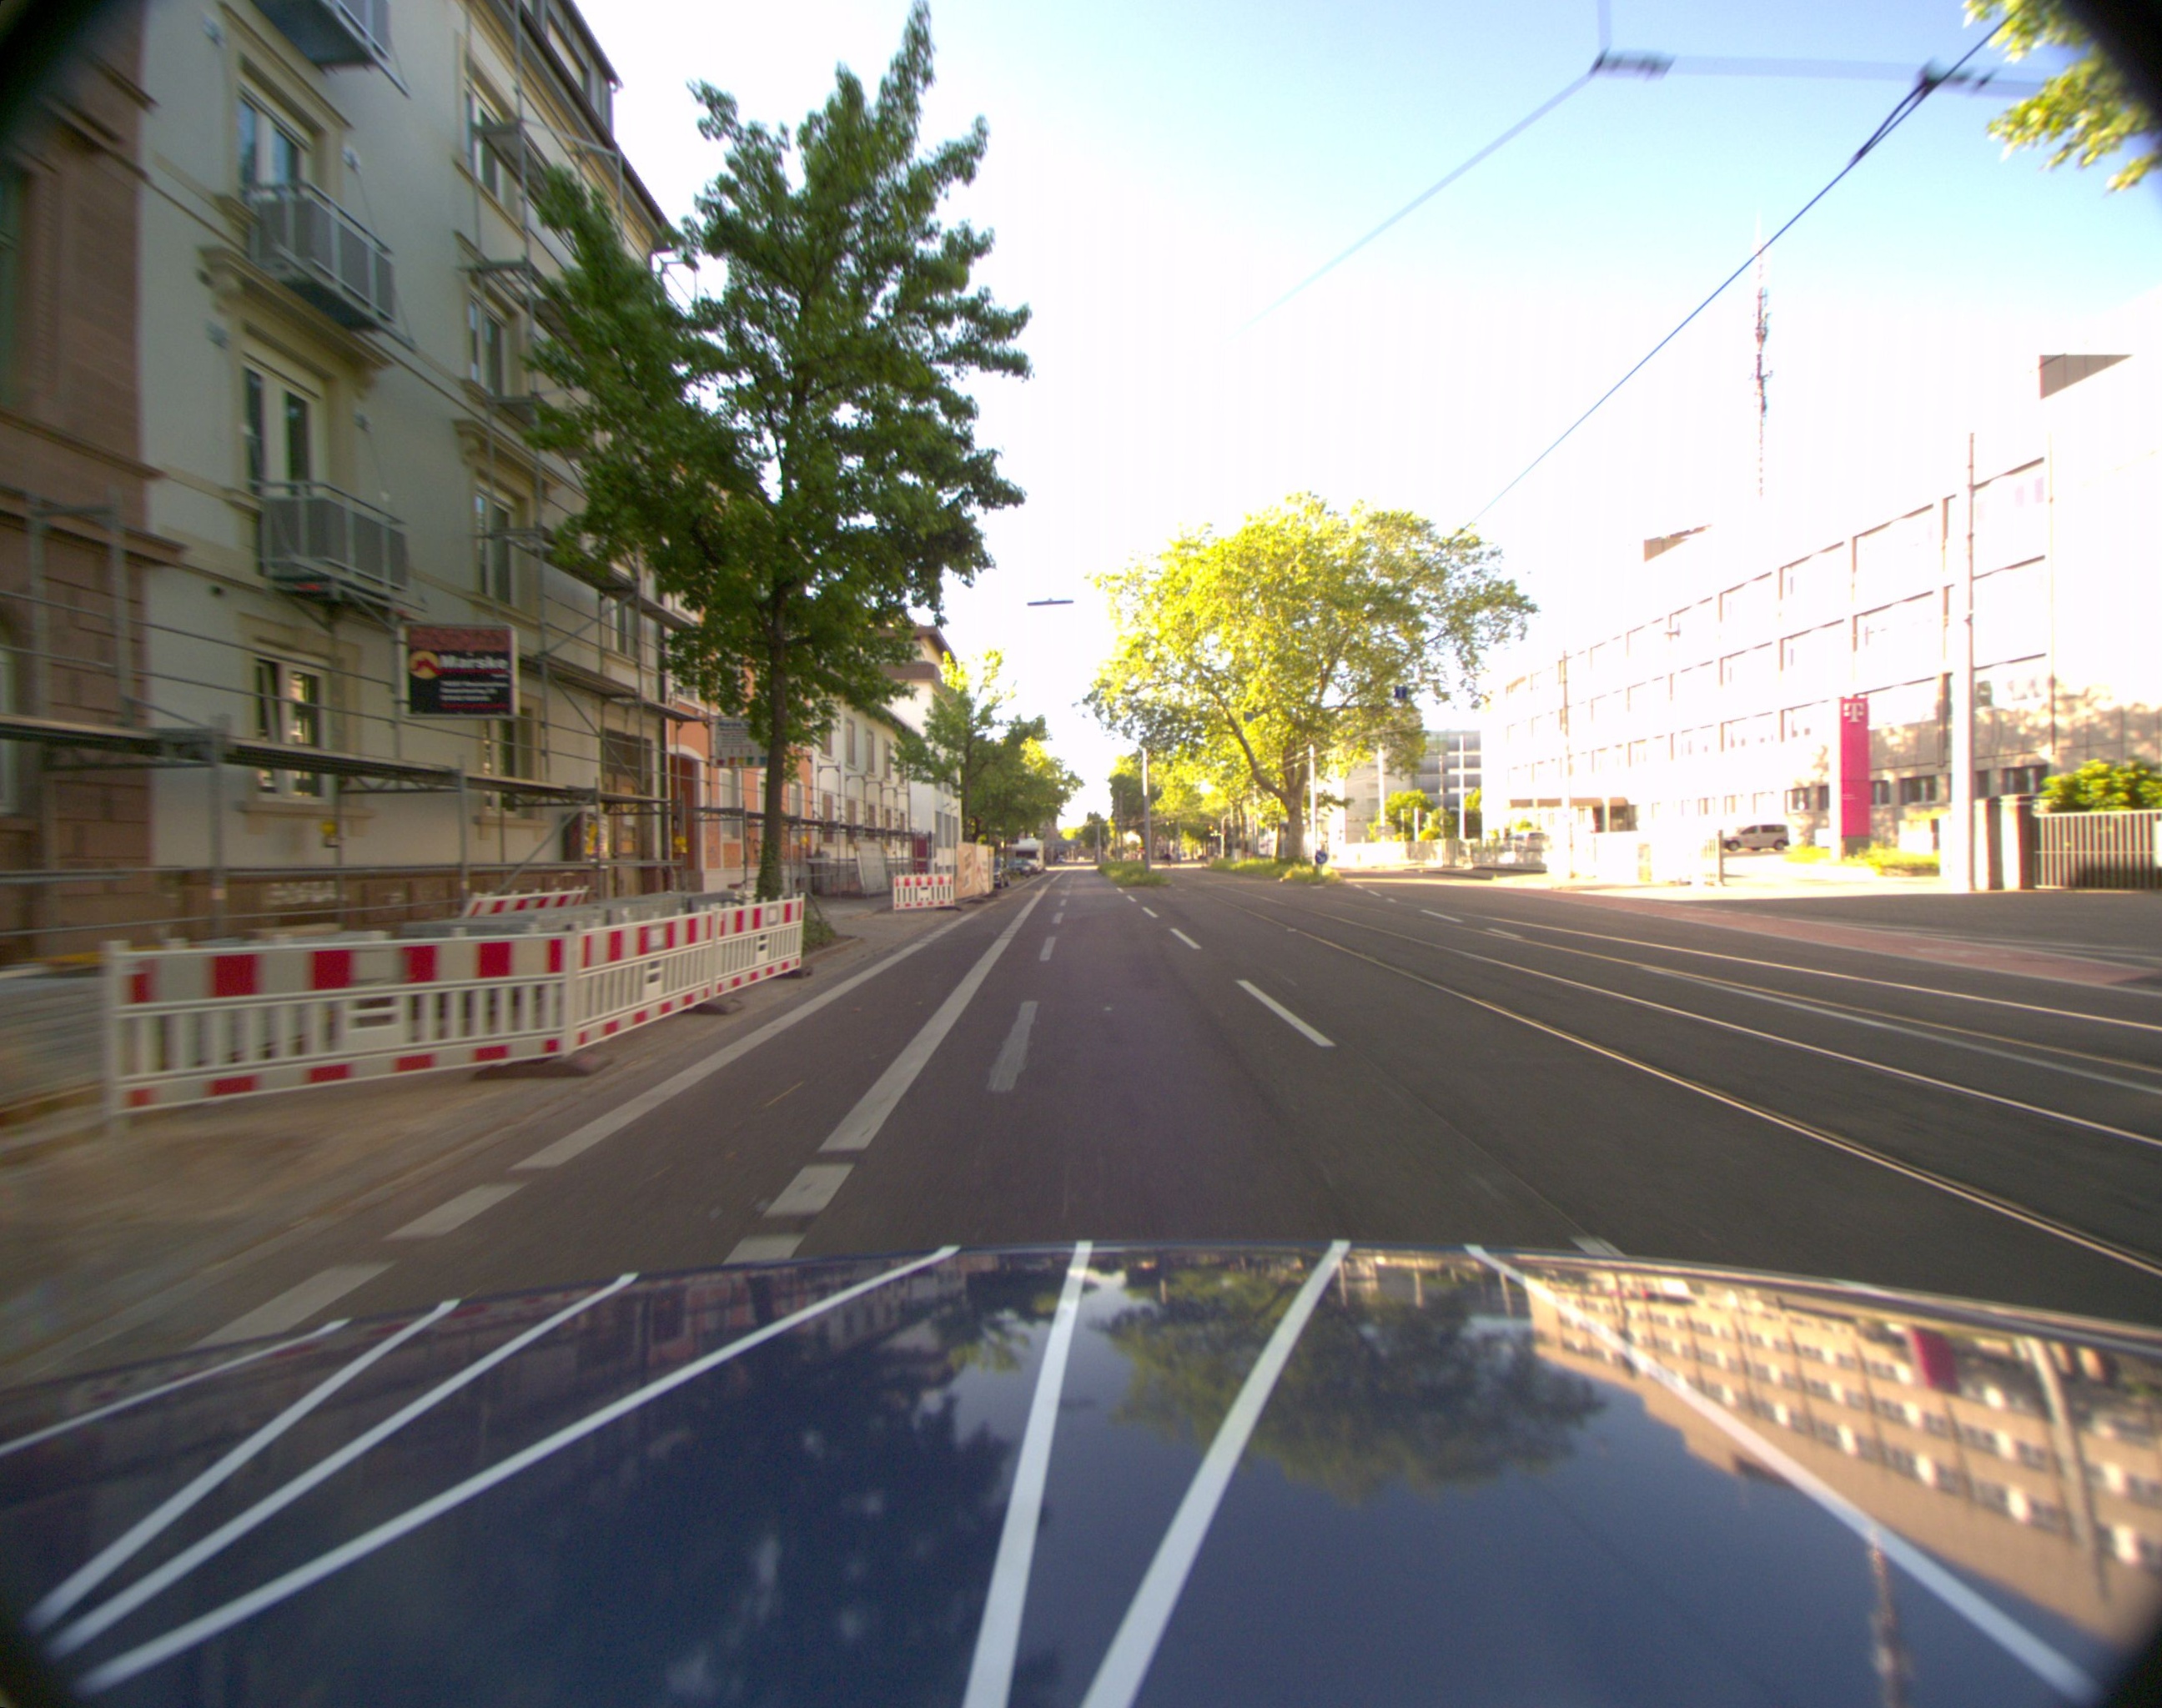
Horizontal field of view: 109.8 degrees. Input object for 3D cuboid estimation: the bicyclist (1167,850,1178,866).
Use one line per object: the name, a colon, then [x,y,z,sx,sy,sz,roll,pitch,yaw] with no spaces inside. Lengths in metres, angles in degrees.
bicyclist: [9.277,0.392,77.057,1.006,1.567,0.760,-2,1,9]

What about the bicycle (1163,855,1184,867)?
bicycle: [9.381,0.719,77.053,2.081,1.122,0.760,-2,1,9]

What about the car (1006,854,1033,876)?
car: [-4.381,0.768,54.617,1.656,1.439,3.800,0,1,-1]

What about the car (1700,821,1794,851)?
car: [41.816,-1.121,47.769,4.278,1.709,1.853,-2,1,0]

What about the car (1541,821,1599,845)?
car: [37.083,-1.573,57.721,1.852,1.742,3.999,-2,1,1]

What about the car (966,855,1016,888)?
car: [-4.370,0.816,37.367,1.767,1.475,4.110,0,1,2]

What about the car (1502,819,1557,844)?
car: [34.520,-1.680,58.558,1.852,1.807,3.999,-2,1,1]

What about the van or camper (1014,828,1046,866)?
van or camper: [-4.256,-0.612,64.808,2.173,3.075,7.289,0,1,1]
